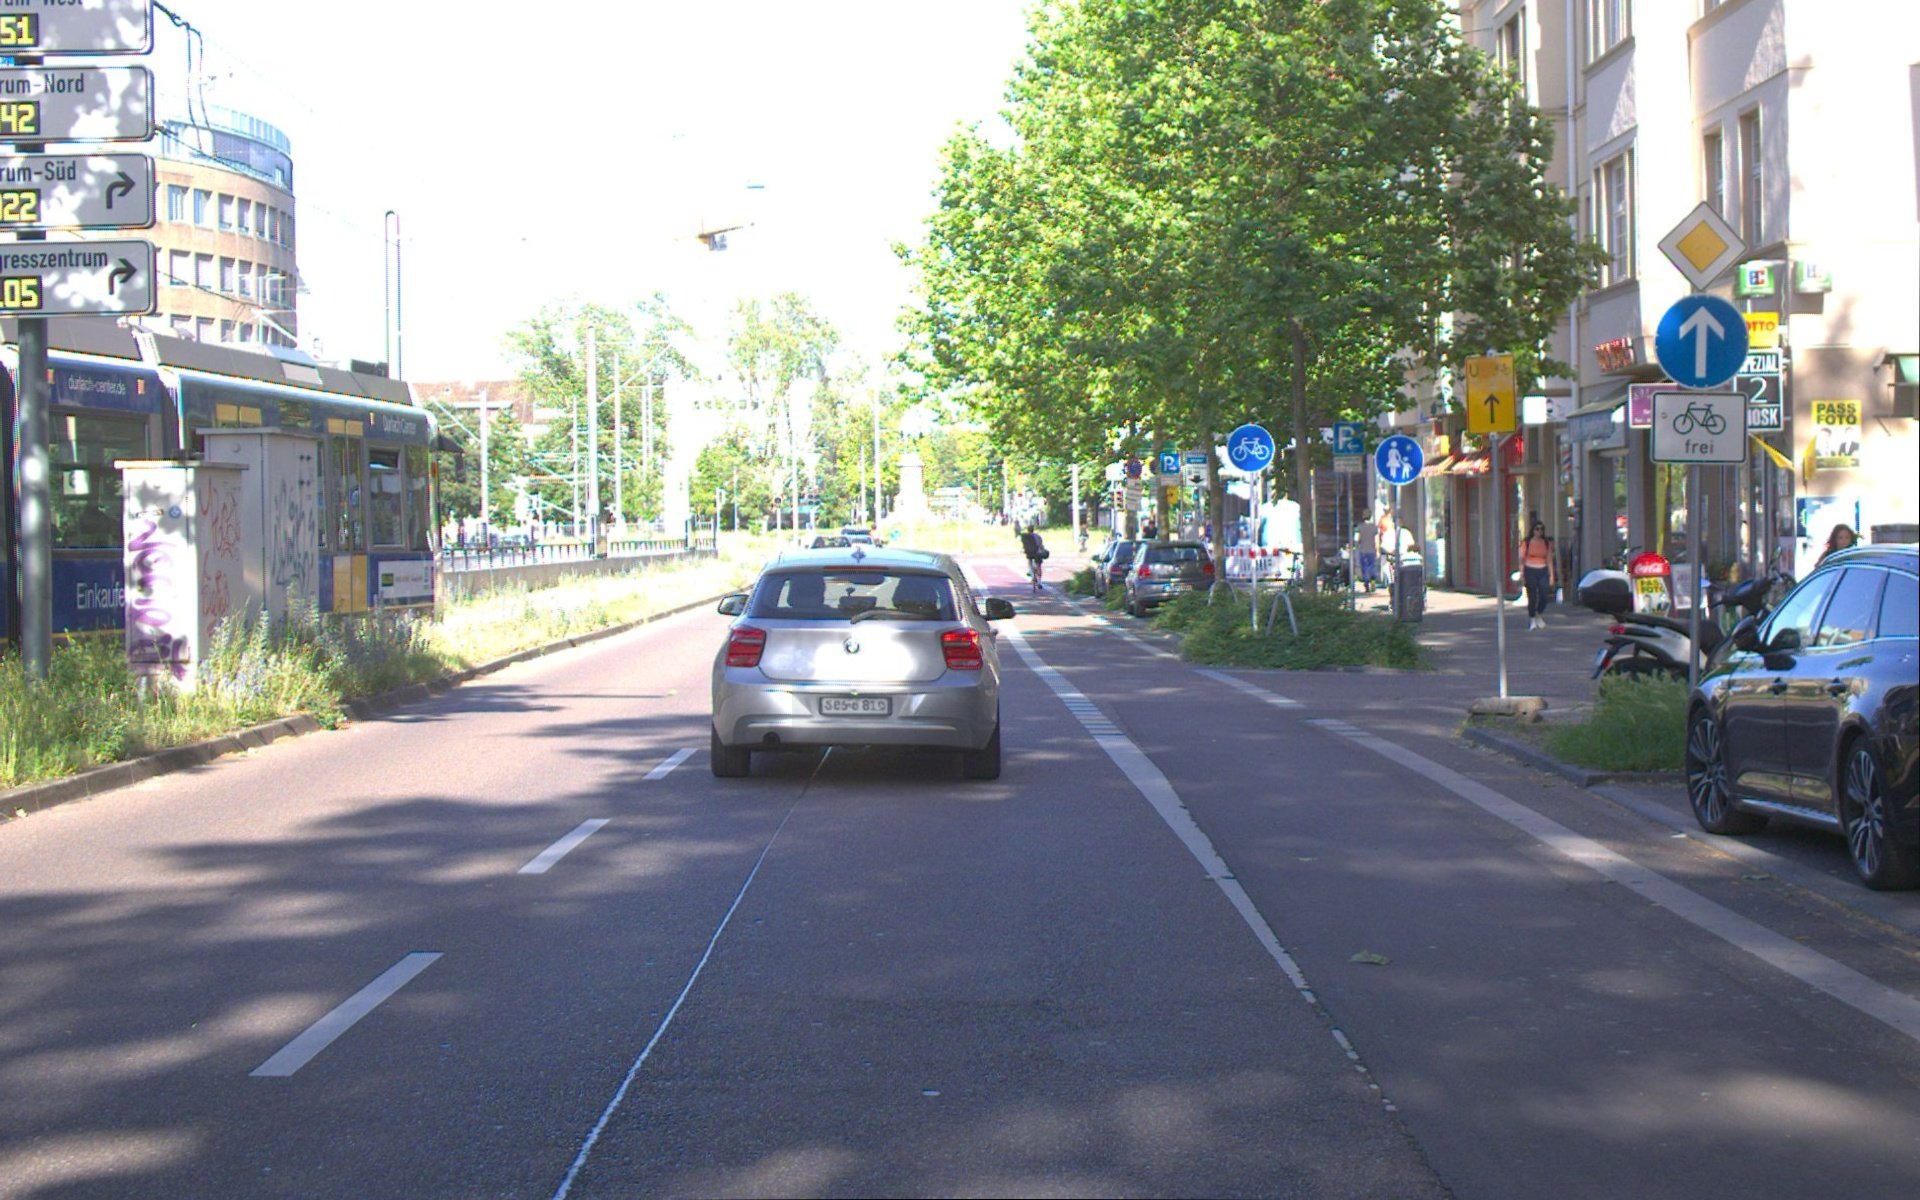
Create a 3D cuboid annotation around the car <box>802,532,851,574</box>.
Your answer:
[{"bbox_3d":[-4.784,-1.679,123.086,1.726,1.465,4.411,0,1,-3],"label":"car"}]

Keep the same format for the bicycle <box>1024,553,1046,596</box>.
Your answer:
[{"bbox_3d":[1.958,-0.679,90.259,0.499,1.085,1.997,1,1,0],"label":"bicycle"}]

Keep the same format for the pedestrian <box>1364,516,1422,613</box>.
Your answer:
[{"bbox_3d":[7.673,-0.635,60.972,0.859,1.699,0.917,0,1,-2],"label":"pedestrian"}]

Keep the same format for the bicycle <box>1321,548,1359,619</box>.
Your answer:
[{"bbox_3d":[6.591,-0.290,59.591,0.386,1.203,1.872,0,1,14],"label":"bicycle"}]

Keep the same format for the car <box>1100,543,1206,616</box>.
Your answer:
[{"bbox_3d":[4.182,-0.472,75.034,2.038,1.504,4.594,0,1,0],"label":"car"}]

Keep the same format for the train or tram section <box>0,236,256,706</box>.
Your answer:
[{"bbox_3d":[-8.409,-1.124,30.637,2.956,3.883,3.864,1,1,9],"label":"train or tram section"}]

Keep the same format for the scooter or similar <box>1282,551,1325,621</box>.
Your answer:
[{"bbox_3d":[6.089,-0.256,60.862,0.379,1.192,1.573,-1,1,20],"label":"scooter or similar"}]

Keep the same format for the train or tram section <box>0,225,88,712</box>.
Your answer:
[{"bbox_3d":[-9.833,-0.984,21.650,2.930,3.799,14.268,1,1,9],"label":"train or tram section"}]

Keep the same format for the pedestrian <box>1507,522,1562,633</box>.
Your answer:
[{"bbox_3d":[8.456,-0.334,50.602,0.682,1.616,0.562,0,1,-3],"label":"pedestrian"}]

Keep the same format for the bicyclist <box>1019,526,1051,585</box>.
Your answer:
[{"bbox_3d":[1.980,-1.176,90.275,0.785,1.526,0.895,1,1,0],"label":"bicyclist"}]

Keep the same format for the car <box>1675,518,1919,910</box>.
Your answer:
[{"bbox_3d":[4.608,0.390,15.575,1.818,1.510,4.708,-1,1,1],"label":"car"}]

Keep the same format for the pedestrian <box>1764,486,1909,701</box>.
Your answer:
[{"bbox_3d":[8.403,-0.070,33.006,1.088,2.007,1.046,1,1,1],"label":"pedestrian"}]

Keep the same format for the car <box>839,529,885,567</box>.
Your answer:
[{"bbox_3d":[-3.740,-1.995,131.254,1.644,1.416,4.000,1,1,0],"label":"car"}]

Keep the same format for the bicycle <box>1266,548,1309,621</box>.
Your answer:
[{"bbox_3d":[5.613,-0.261,58.958,0.392,1.211,1.903,-2,0,-4],"label":"bicycle"}]

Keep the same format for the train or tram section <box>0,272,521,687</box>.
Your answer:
[{"bbox_3d":[-7.560,-1.226,37.988,2.953,3.883,10.800,1,1,6],"label":"train or tram section"}]

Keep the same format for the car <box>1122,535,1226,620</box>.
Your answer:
[{"bbox_3d":[4.169,-0.463,67.441,1.694,1.497,3.802,-3,2,0],"label":"car"}]

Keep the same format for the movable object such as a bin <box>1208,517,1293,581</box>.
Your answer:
[{"bbox_3d":[8.798,-1.553,104.382,1.945,1.837,3.481,-1,2,-6],"label":"movable object such as a bin"}]

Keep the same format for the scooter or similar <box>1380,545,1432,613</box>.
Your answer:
[{"bbox_3d":[7.770,-0.366,59.932,0.744,1.167,0.849,-1,1,-3],"label":"scooter or similar"}]

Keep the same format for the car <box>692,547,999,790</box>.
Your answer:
[{"bbox_3d":[-0.700,0.373,22.240,1.798,1.410,4.000,0,1,-1],"label":"car"}]

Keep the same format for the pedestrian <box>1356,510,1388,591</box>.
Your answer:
[{"bbox_3d":[8.686,-1.049,72.521,0.558,1.705,0.770,0,1,0],"label":"pedestrian"}]

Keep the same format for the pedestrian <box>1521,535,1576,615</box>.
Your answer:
[{"bbox_3d":[10.221,-0.446,59.732,0.785,1.364,0.857,-1,1,0],"label":"pedestrian"}]

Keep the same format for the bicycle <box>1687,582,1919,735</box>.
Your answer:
[{"bbox_3d":[6.587,0.435,25.610,2.222,1.089,0.456,1,1,1],"label":"bicycle"}]

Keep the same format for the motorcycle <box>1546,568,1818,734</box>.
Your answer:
[{"bbox_3d":[5.540,0.387,26.410,1.949,1.226,0.516,1,1,-3],"label":"motorcycle"}]
